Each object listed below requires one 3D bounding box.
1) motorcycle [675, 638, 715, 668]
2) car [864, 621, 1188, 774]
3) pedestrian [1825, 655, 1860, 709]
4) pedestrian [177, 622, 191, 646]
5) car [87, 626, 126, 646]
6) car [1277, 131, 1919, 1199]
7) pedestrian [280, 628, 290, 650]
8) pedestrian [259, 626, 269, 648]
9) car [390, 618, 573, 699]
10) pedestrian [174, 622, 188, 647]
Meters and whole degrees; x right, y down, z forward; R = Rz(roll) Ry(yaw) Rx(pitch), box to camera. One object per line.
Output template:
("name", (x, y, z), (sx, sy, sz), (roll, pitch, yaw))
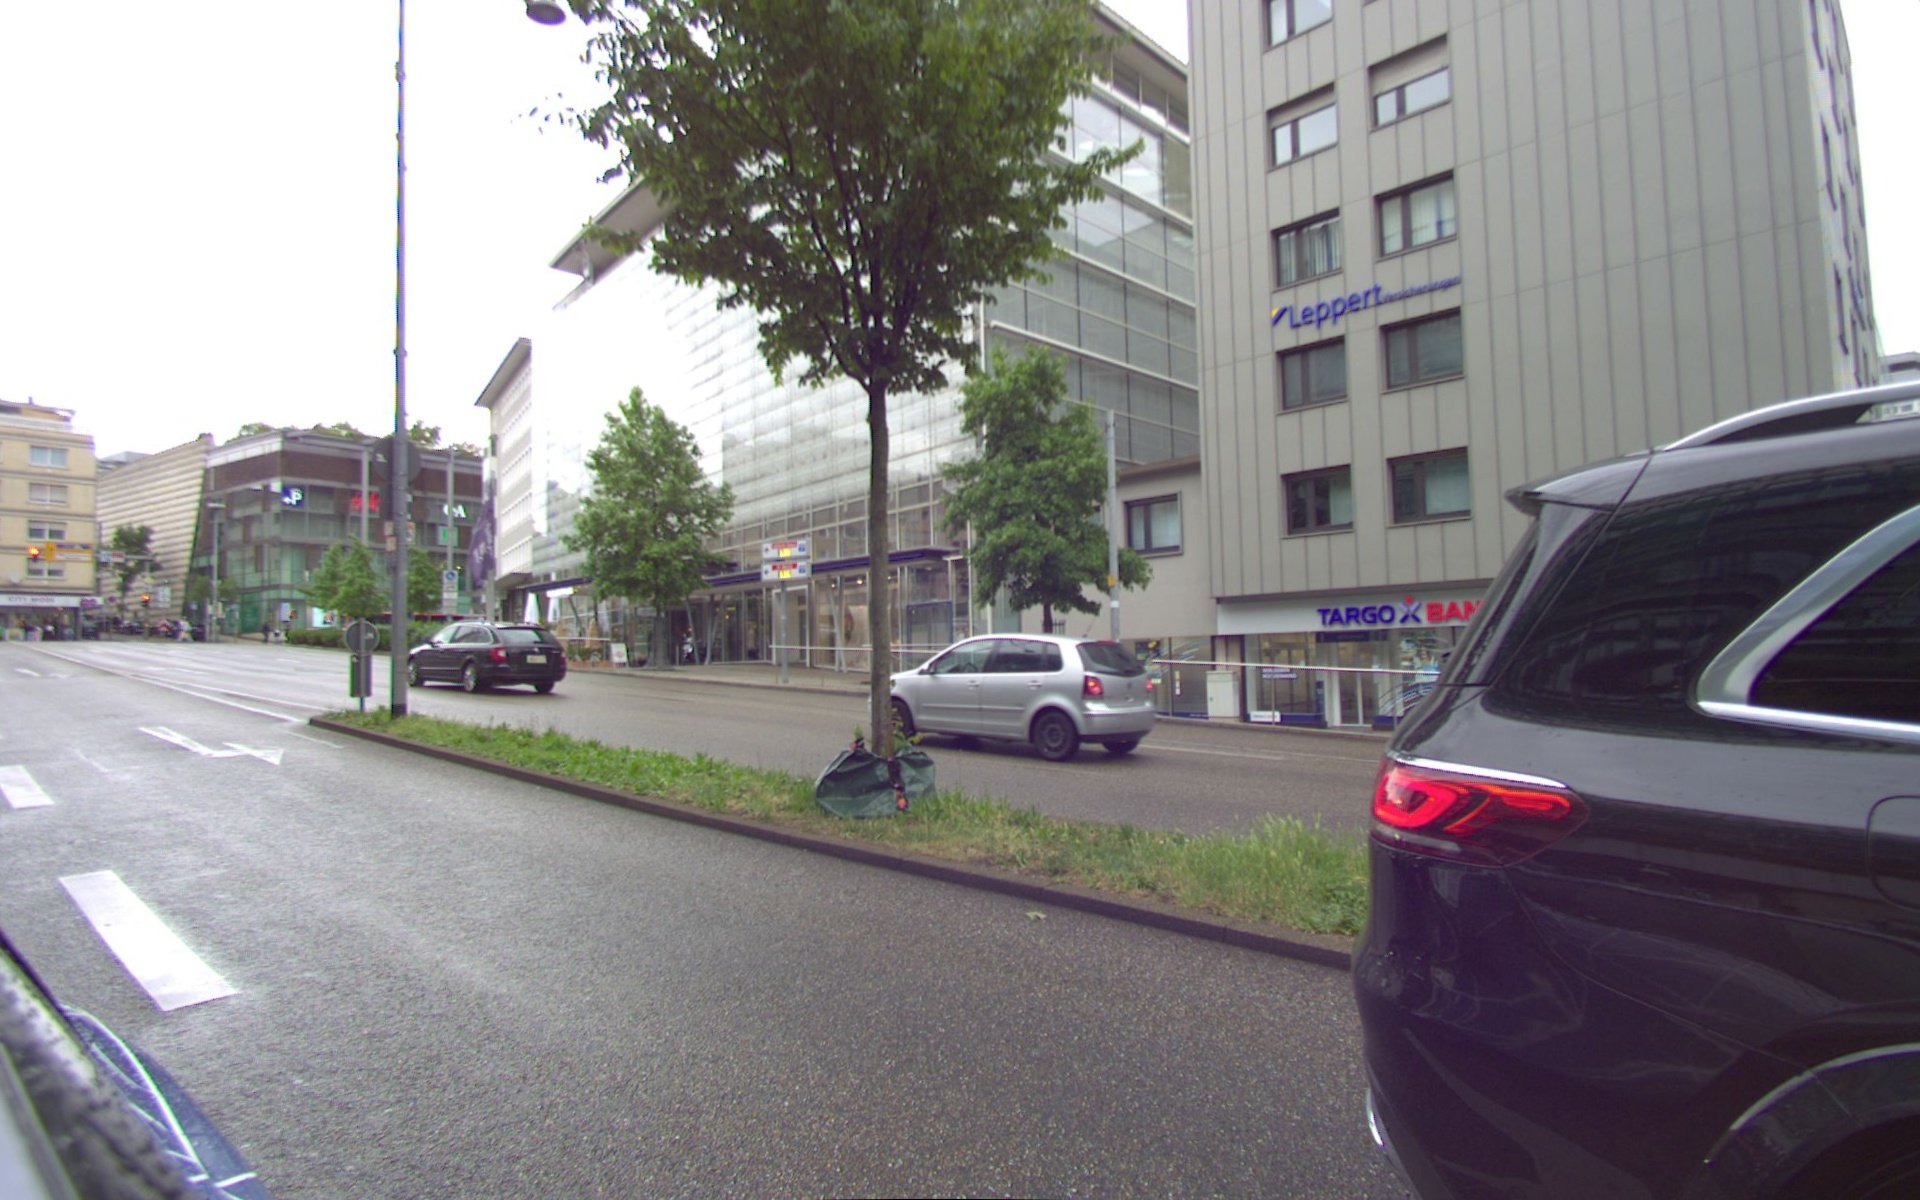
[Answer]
("motorcycle", (-12.094, 2.424, 46.215), (0.620, 1.336, 1.685), (-1, -3, 41))
("car", (0.730, 1.110, 12.603), (3.750, 1.479, 1.616), (2, -2, 40))
("pedestrian", (28.676, 2.642, 32.892), (0.724, 1.710, 0.781), (0, -3, 34))
("pedestrian", (-52.095, 2.280, 67.928), (0.603, 1.642, 0.625), (-1, -3, 44))
("car", (-89.859, 3.781, 106.536), (4.575, 2.029, 1.977), (0, -2, 34))
("car", (3.071, 0.382, 0.803), (5.069, 1.884, 1.892), (0, 0, 40))
("pedestrian", (-49.434, 2.860, 74.082), (0.603, 1.642, 0.422), (-1, -3, 45))
("pedestrian", (-52.161, 2.779, 75.829), (0.602, 1.642, 0.422), (-1, -3, 44))
("car", (-10.348, 1.195, 21.717), (4.733, 1.497, 1.617), (0, -3, 39))
("pedestrian", (-52.683, 2.337, 68.461), (0.602, 1.642, 0.625), (-1, -3, 42))
